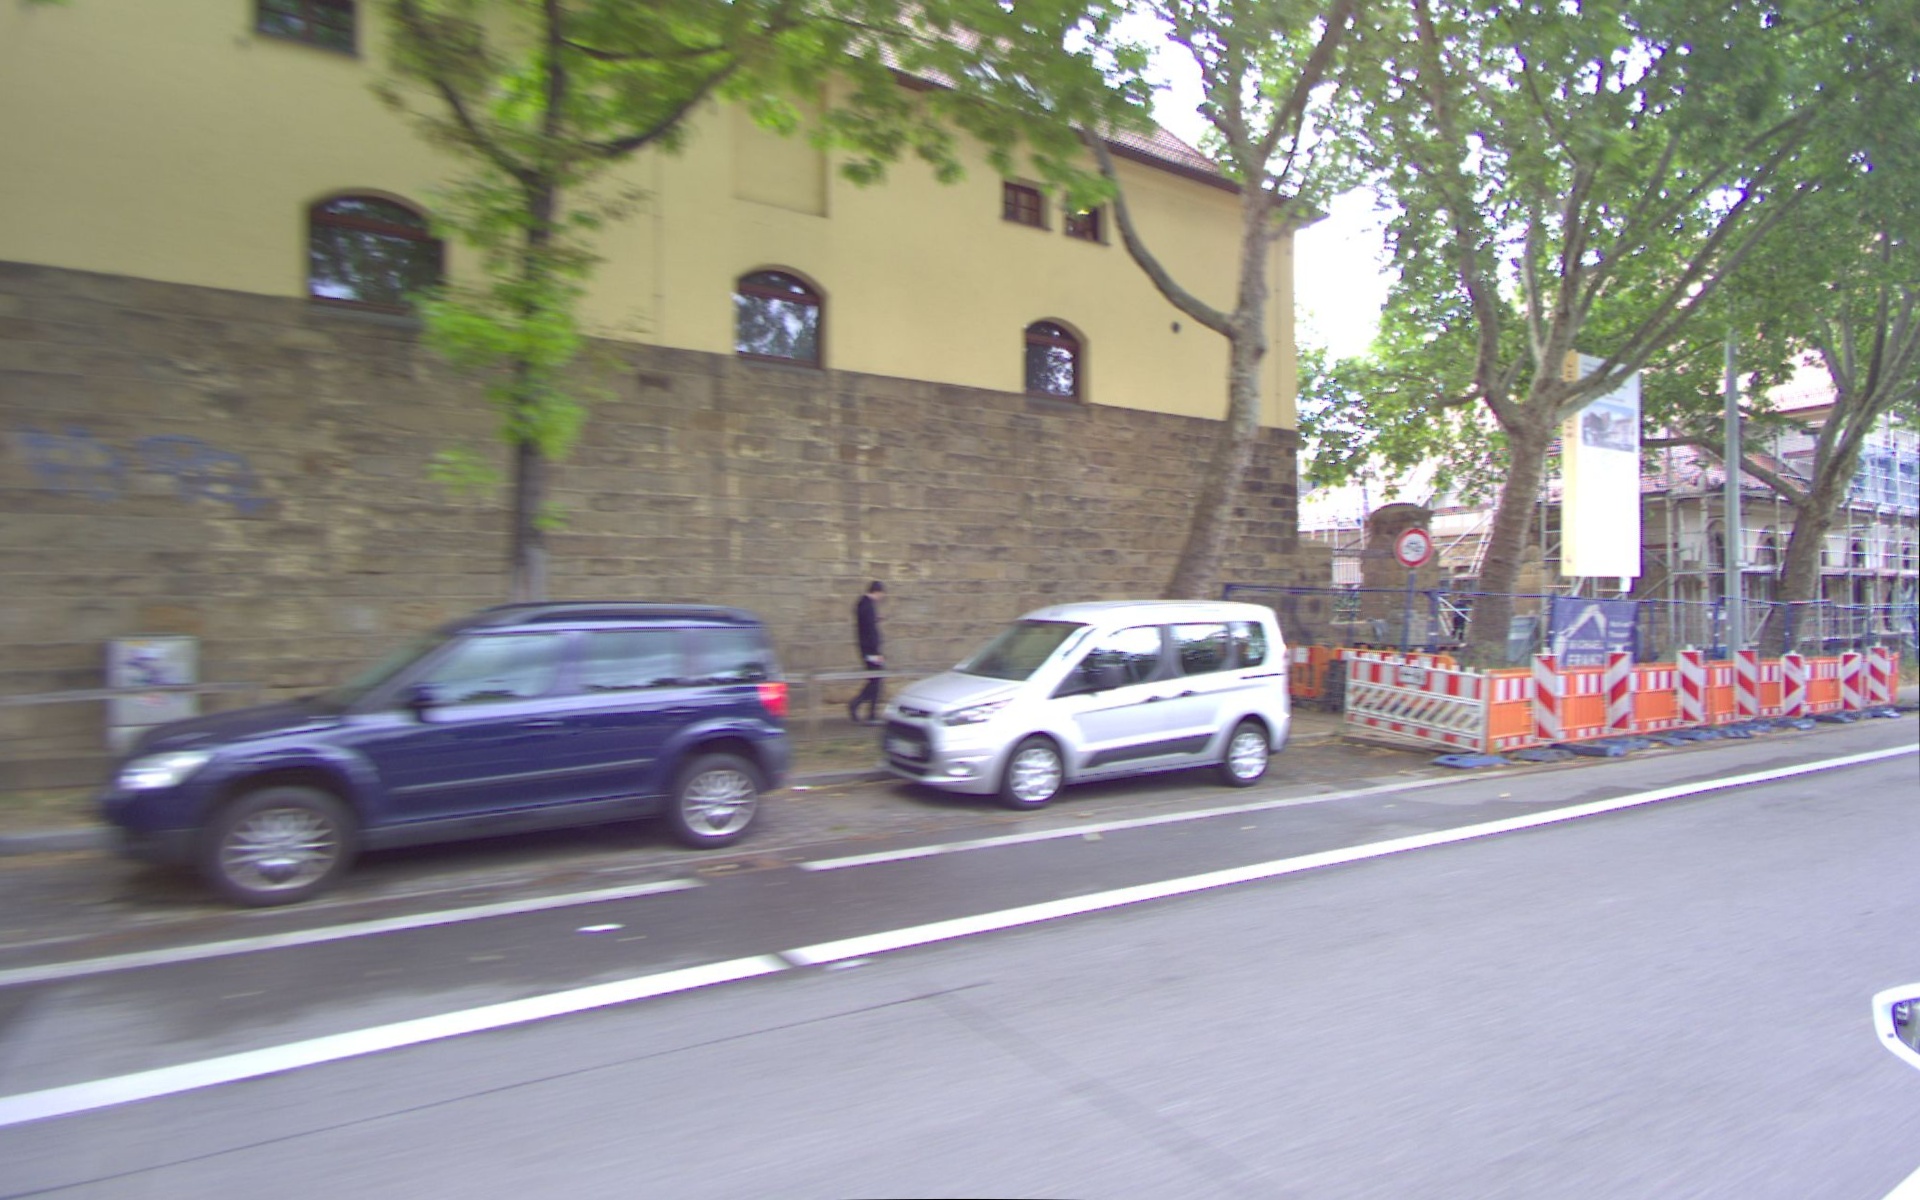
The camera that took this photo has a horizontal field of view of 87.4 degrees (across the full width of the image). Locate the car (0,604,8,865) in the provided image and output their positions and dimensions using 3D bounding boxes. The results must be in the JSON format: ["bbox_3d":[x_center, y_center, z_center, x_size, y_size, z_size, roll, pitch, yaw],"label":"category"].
[{"bbox_3d":[-6.996,0.780,4.268,4.048,1.594,1.583,2,0,-36],"label":"car"}]

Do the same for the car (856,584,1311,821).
[{"bbox_3d":[1.329,0.885,10.021,4.368,1.901,1.824,1,-2,-32],"label":"car"}]

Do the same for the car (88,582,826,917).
[{"bbox_3d":[-3.089,0.795,6.806,4.075,1.653,1.498,2,0,-36],"label":"car"}]

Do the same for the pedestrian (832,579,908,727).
[{"bbox_3d":[-1.157,0.665,12.900,0.734,1.823,0.589,2,1,-32],"label":"pedestrian"}]
